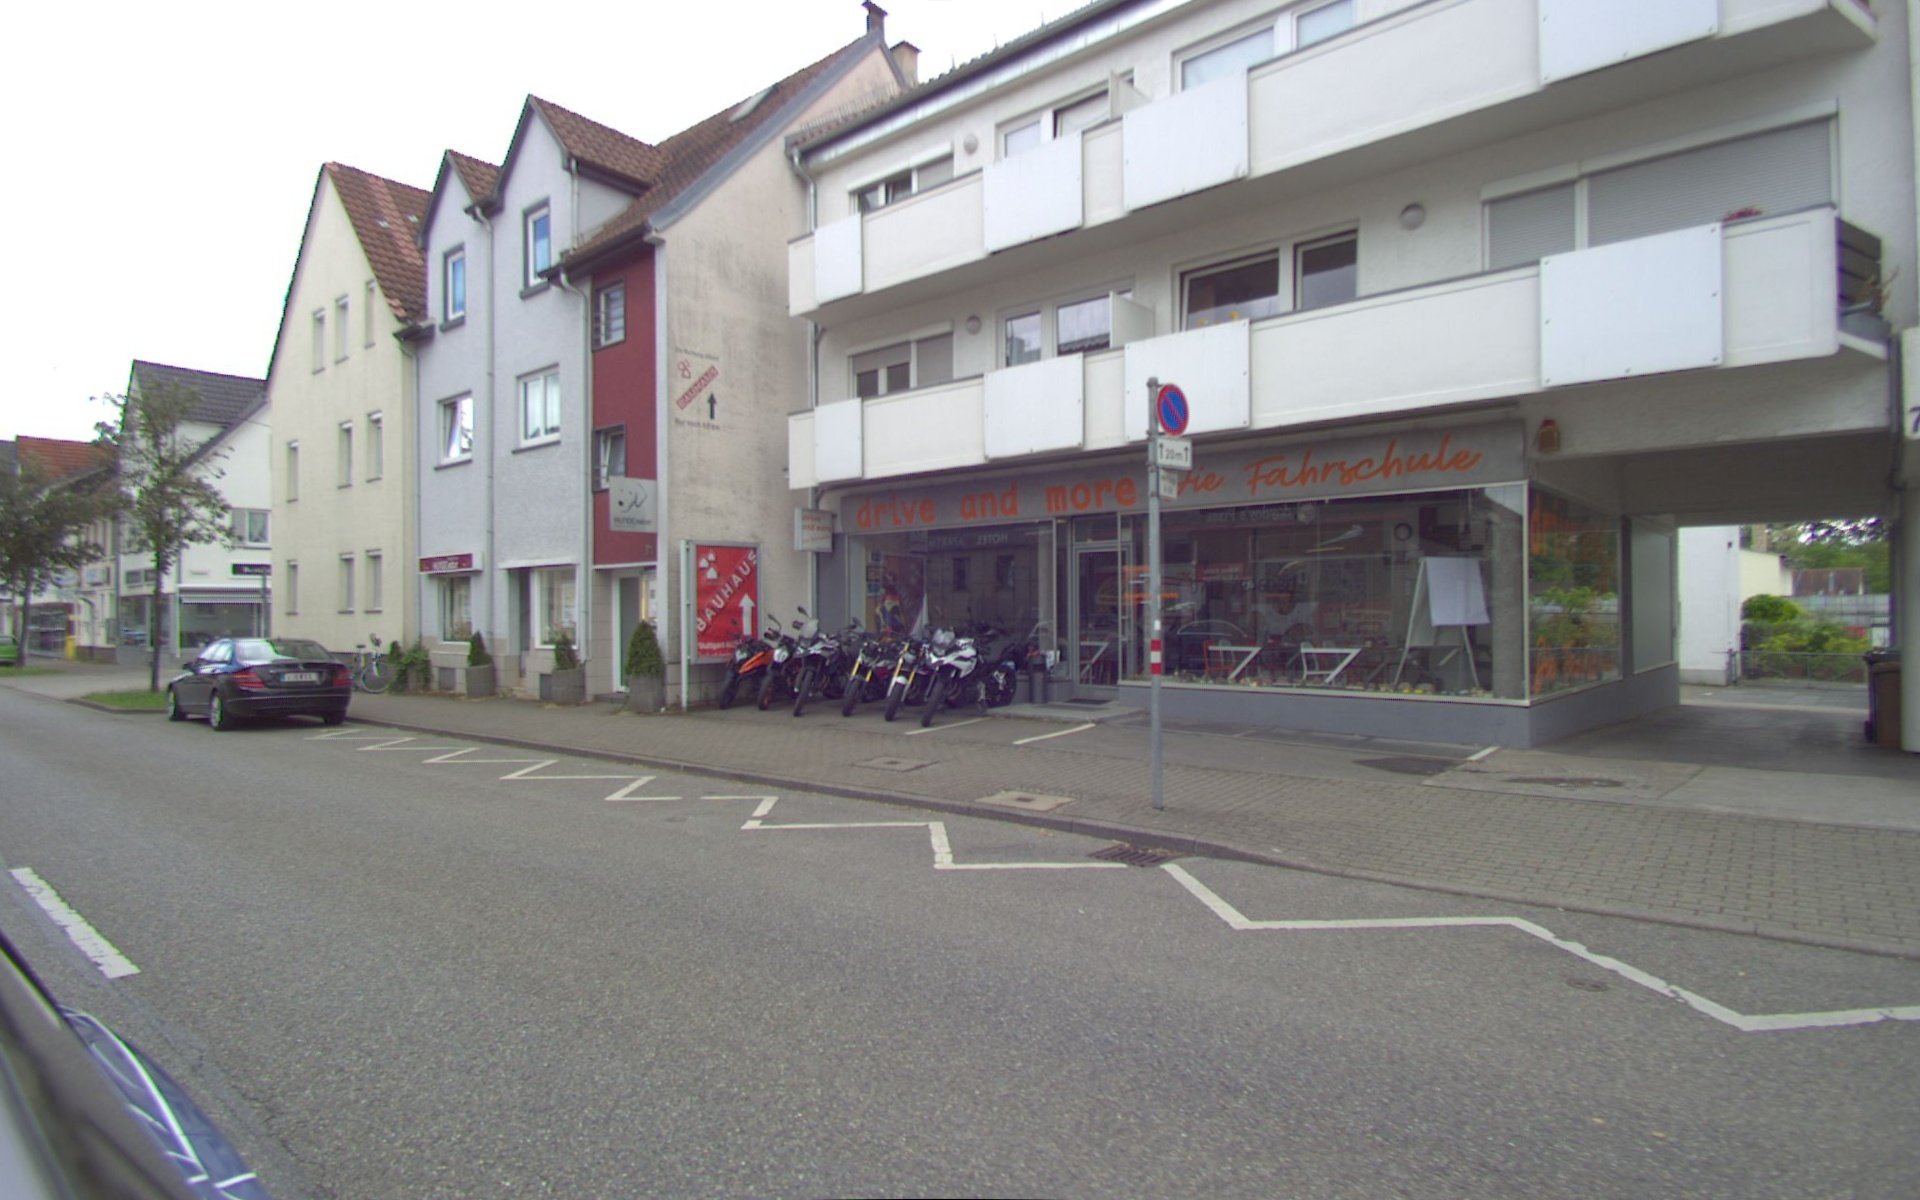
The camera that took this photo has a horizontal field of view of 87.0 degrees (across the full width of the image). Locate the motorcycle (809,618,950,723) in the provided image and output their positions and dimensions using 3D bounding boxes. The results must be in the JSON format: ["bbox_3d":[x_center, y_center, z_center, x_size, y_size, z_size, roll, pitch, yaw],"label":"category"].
[{"bbox_3d":[-1.102,0.954,14.398,0.612,1.274,2.203,-2,1,39],"label":"motorcycle"}]

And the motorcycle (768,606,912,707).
[{"bbox_3d":[-1.717,0.786,14.891,0.698,1.274,2.203,-2,1,39],"label":"motorcycle"}]

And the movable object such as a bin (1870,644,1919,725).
[{"bbox_3d":[12.578,1.126,13.622,0.441,1.065,0.483,-2,-3,41],"label":"movable object such as a bin"}]

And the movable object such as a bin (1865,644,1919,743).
[{"bbox_3d":[10.384,1.021,11.253,0.441,1.065,0.483,-2,-3,41],"label":"movable object such as a bin"}]

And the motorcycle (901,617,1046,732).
[{"bbox_3d":[0.225,0.917,13.214,0.612,1.274,2.203,-2,1,39],"label":"motorcycle"}]

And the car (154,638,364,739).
[{"bbox_3d":[-11.651,1.352,16.716,4.338,1.428,1.769,-1,-2,40],"label":"car"}]

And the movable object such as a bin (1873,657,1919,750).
[{"bbox_3d":[9.953,1.073,10.653,0.470,0.940,0.593,-2,-3,41],"label":"movable object such as a bin"}]

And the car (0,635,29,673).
[{"bbox_3d":[-38.085,2.123,39.754,3.896,1.407,1.694,-1,-1,39],"label":"car"}]

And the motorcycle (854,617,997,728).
[{"bbox_3d":[-0.429,0.936,13.805,0.612,1.274,2.203,-2,1,39],"label":"motorcycle"}]

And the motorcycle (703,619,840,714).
[{"bbox_3d":[-2.917,1.000,15.890,0.612,1.274,2.203,-2,1,39],"label":"motorcycle"}]

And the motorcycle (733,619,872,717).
[{"bbox_3d":[-2.350,0.985,15.398,0.612,1.274,2.203,-2,1,39],"label":"motorcycle"}]

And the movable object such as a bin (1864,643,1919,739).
[{"bbox_3d":[10.726,1.033,11.642,0.441,1.065,0.483,-2,-3,41],"label":"movable object such as a bin"}]

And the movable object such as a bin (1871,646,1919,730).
[{"bbox_3d":[12.146,1.127,13.129,0.441,1.065,0.483,-2,-3,41],"label":"movable object such as a bin"}]

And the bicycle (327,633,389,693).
[{"bbox_3d":[-12.987,1.335,21.815,2.022,1.205,0.509,-1,-1,40],"label":"bicycle"}]
